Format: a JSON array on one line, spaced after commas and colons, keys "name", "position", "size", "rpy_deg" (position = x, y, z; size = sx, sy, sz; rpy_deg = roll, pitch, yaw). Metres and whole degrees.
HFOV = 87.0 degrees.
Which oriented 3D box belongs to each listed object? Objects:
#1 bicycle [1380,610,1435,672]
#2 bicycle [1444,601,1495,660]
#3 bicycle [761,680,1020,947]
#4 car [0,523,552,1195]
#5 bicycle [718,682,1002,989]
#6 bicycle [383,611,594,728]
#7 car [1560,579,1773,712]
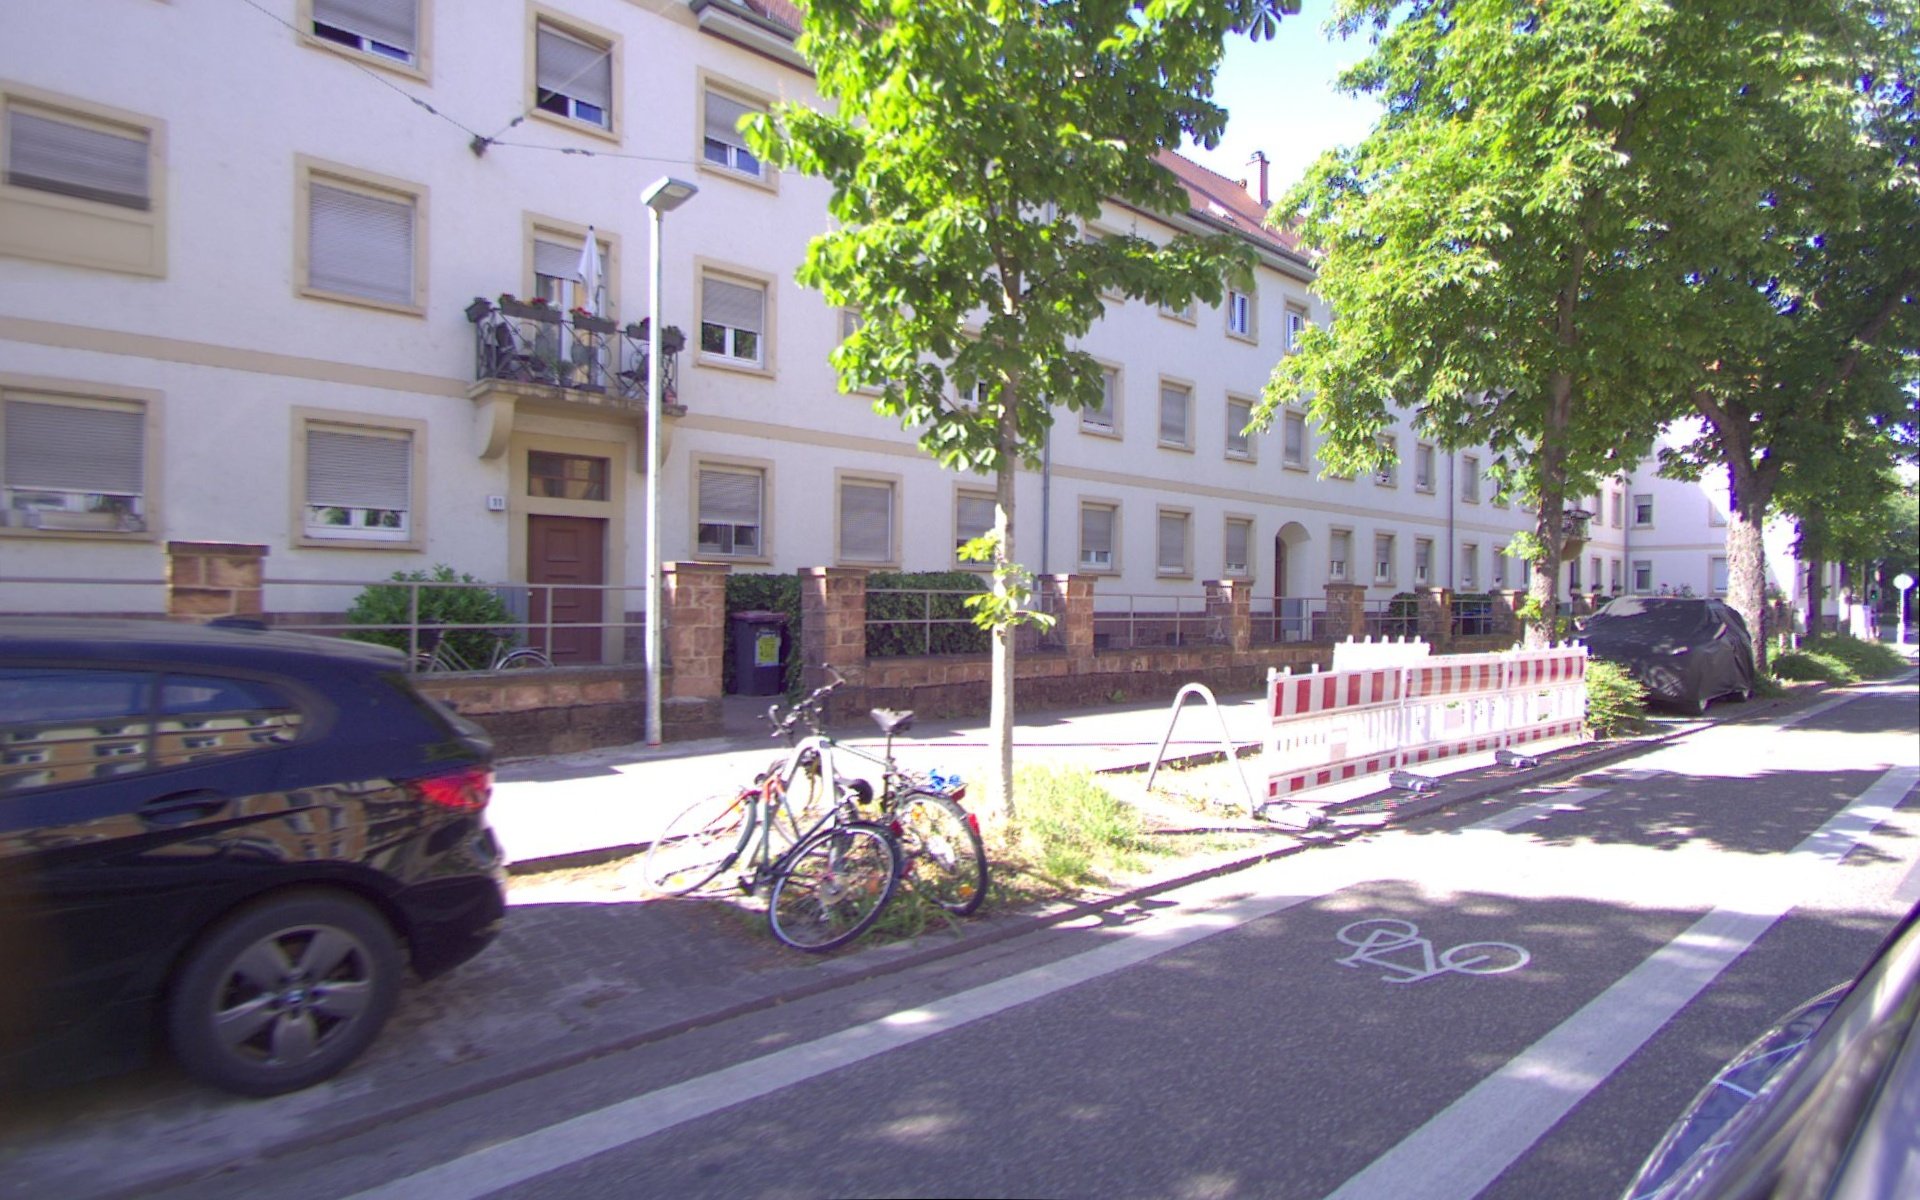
[{"name": "bicycle", "position": [9.656, 0.862, 21.801], "size": [1.647, 1.254, 0.448], "rpy_deg": [0, 1, -43]}, {"name": "bicycle", "position": [11.283, 0.648, 22.403], "size": [1.647, 1.254, 0.448], "rpy_deg": [0, 1, -43]}, {"name": "bicycle", "position": [-0.439, 1.020, 5.355], "size": [0.426, 1.092, 1.765], "rpy_deg": [1, -1, -39]}, {"name": "car", "position": [-3.569, 0.681, 2.886], "size": [4.158, 1.783, 1.668], "rpy_deg": [0, 0, -42]}, {"name": "bicycle", "position": [-0.549, 0.982, 4.765], "size": [0.426, 1.092, 1.765], "rpy_deg": [1, -1, -39]}, {"name": "bicycle", "position": [-4.710, 0.653, 10.201], "size": [1.839, 1.066, 0.560], "rpy_deg": [0, 0, -41]}, {"name": "car", "position": [11.098, 0.633, 15.771], "size": [4.400, 1.789, 1.746], "rpy_deg": [0, -1, -42]}]
